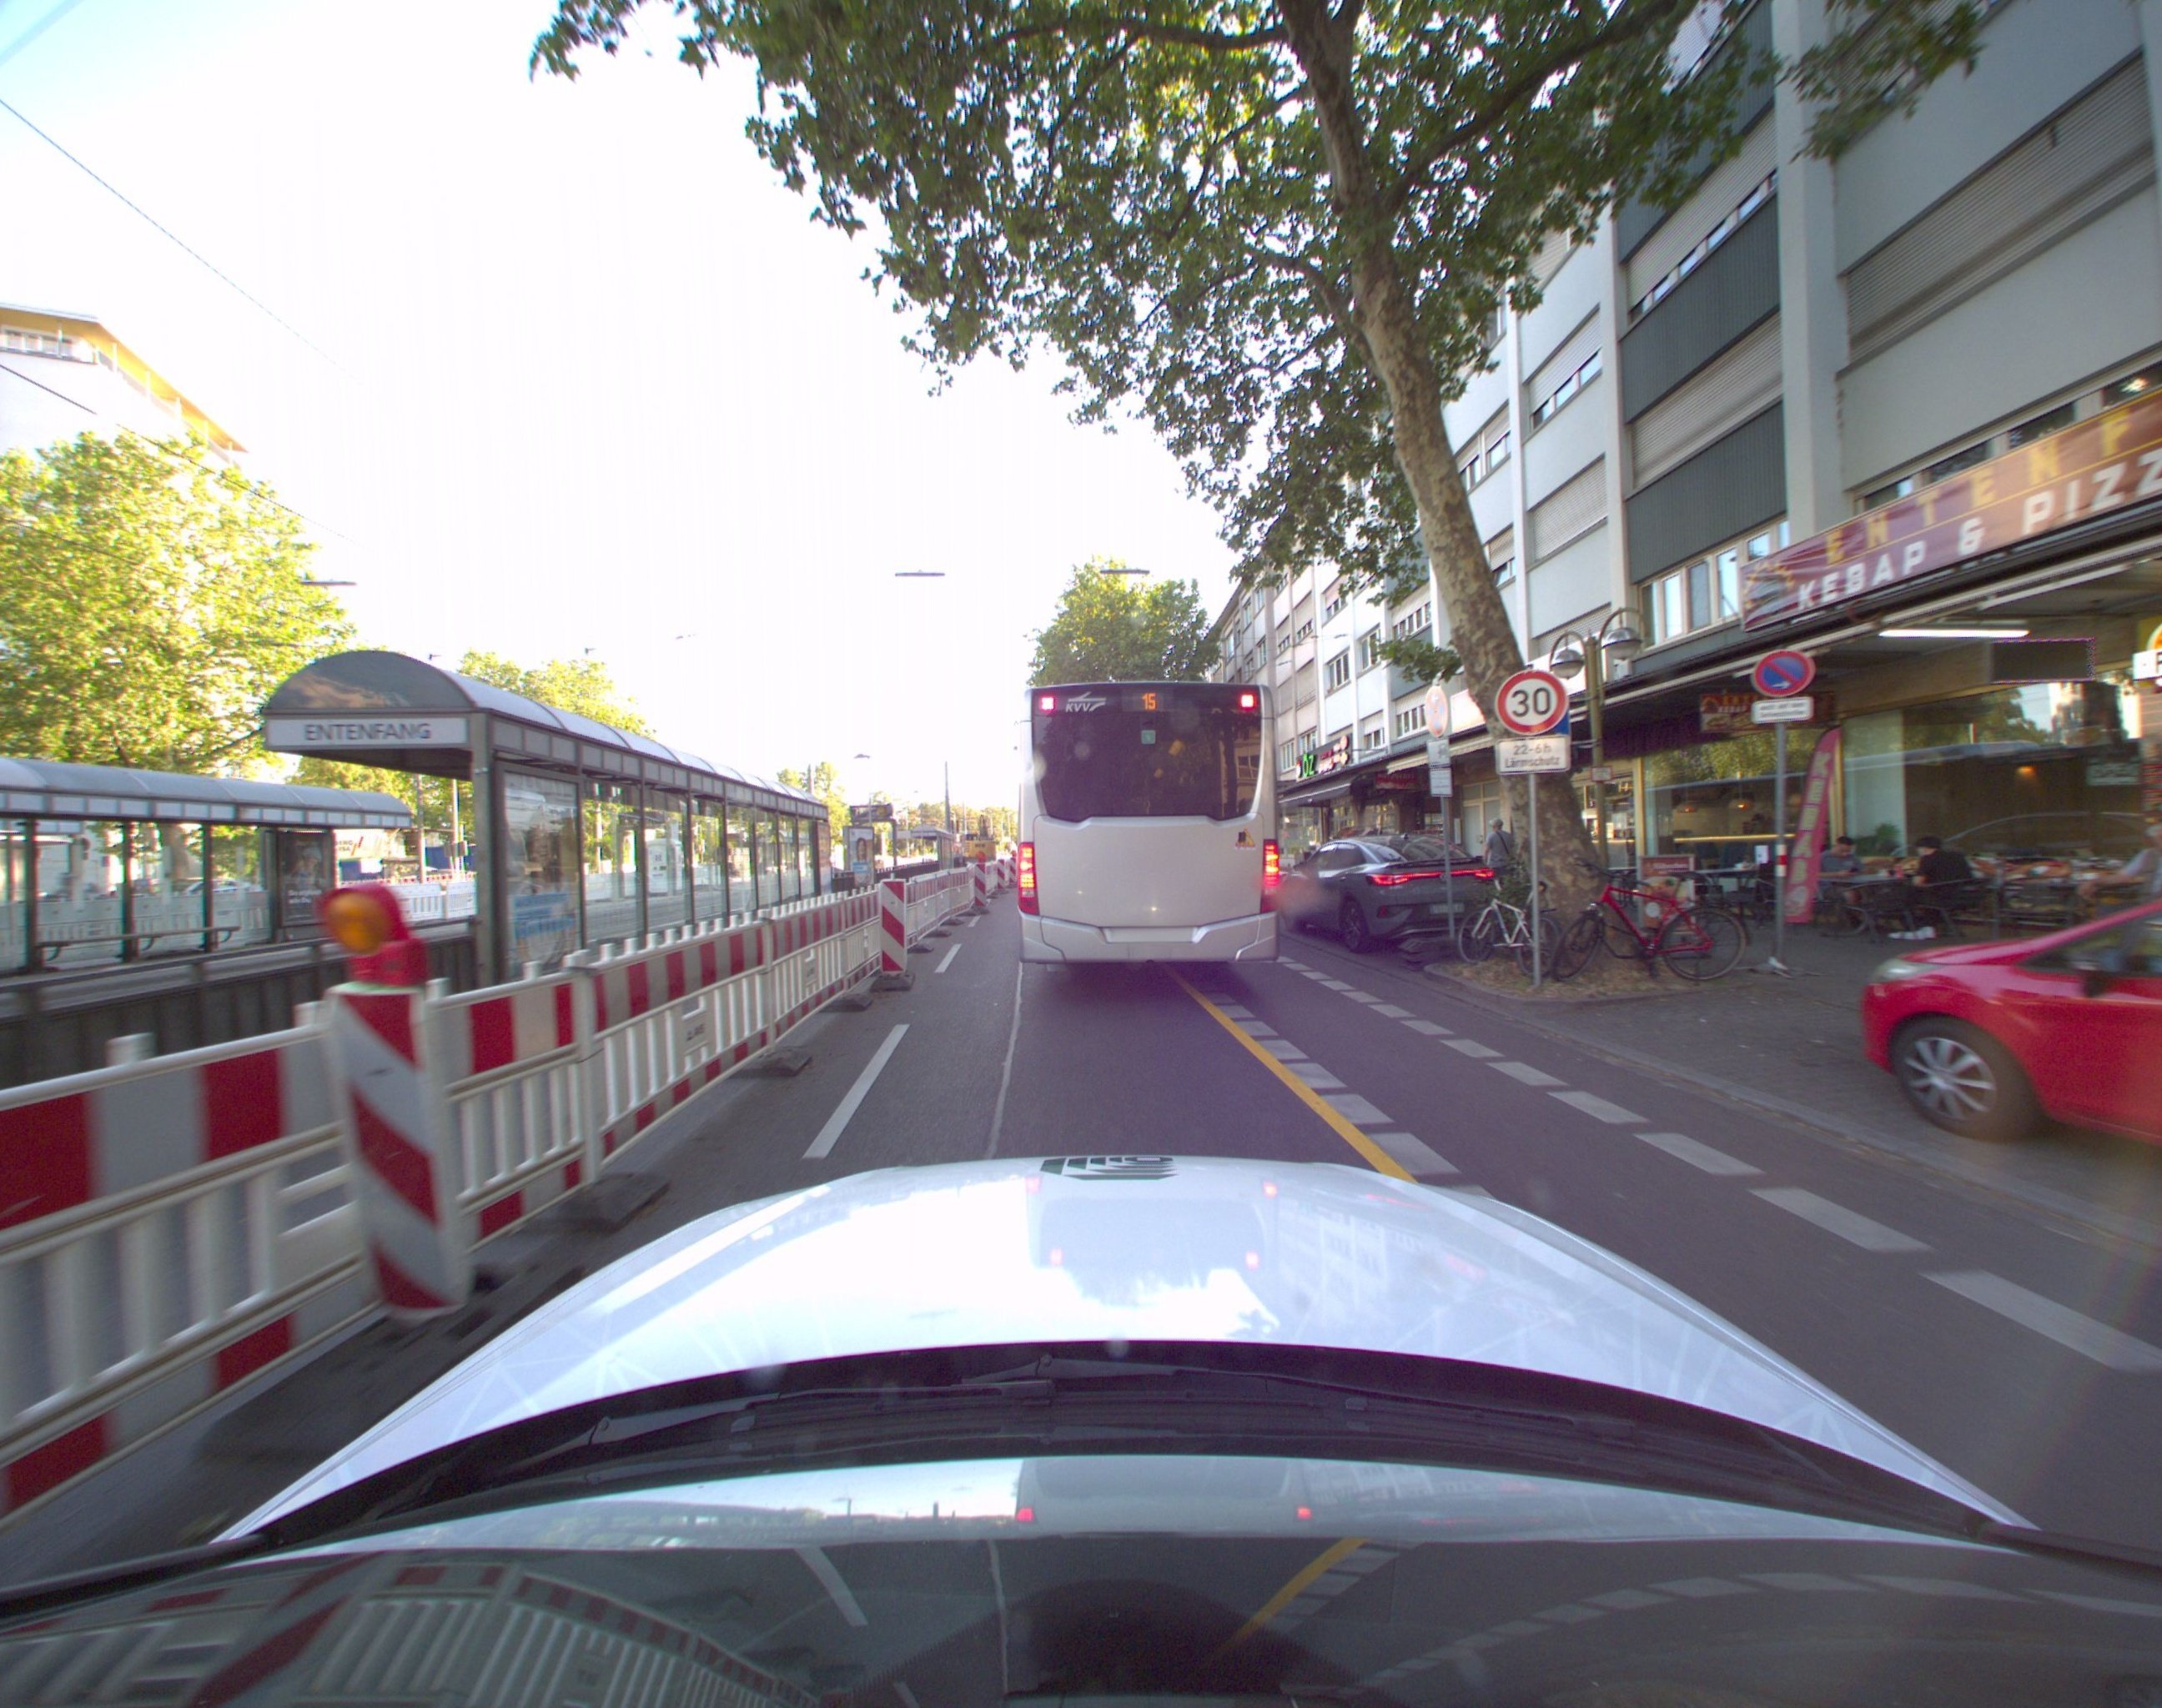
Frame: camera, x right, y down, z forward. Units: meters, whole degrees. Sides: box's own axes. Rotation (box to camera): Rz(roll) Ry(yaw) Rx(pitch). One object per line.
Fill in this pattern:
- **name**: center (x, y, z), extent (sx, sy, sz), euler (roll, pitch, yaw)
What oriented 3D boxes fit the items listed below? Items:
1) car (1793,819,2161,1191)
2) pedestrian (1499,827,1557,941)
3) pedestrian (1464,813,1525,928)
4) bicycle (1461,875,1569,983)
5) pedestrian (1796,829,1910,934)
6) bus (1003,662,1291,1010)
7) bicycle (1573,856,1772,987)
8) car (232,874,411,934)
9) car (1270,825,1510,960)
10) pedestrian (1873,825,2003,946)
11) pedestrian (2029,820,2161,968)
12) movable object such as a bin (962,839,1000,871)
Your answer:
- **car**: center (5.156, 0.584, 2.909), extent (1.663, 1.429, 3.842), euler (-4, 0, -4)
- **pedestrian**: center (8.164, 0.538, 14.888), extent (0.610, 2.013, 0.696), euler (-2, 0, 1)
- **pedestrian**: center (7.477, 0.288, 14.758), extent (0.688, 2.013, 0.696), euler (-2, 0, 0)
- **bicycle**: center (4.415, 0.732, 8.341), extent (0.294, 0.927, 1.127), euler (-6, 3, -9)
- **pedestrian**: center (9.532, 0.325, 10.081), extent (0.673, 1.203, 0.706), euler (-5, -1, 10)
- **bus**: center (0.814, -0.168, 12.676), extent (2.598, 3.169, 10.297), euler (-1, 0, 2)
- **bicycle**: center (5.442, 0.628, 7.539), extent (1.450, 1.066, 0.297), euler (-5, 3, 12)
- **car**: center (-26.301, 1.666, 28.470), extent (1.943, 1.654, 4.685), euler (-2, 1, -3)
- **car**: center (4.434, 0.481, 12.489), extent (1.736, 1.597, 4.293), euler (-4, 0, -4)
- **pedestrian**: center (9.487, 0.337, 9.043), extent (0.612, 1.243, 0.713), euler (-5, -1, 10)
- **pedestrian**: center (9.416, 0.340, 7.317), extent (0.858, 1.220, 0.700), euler (-5, -1, 15)
- **movable object such as a bin**: center (-8.056, 0.058, 65.943), extent (2.801, 2.462, 3.994), euler (-2, 0, -4)
